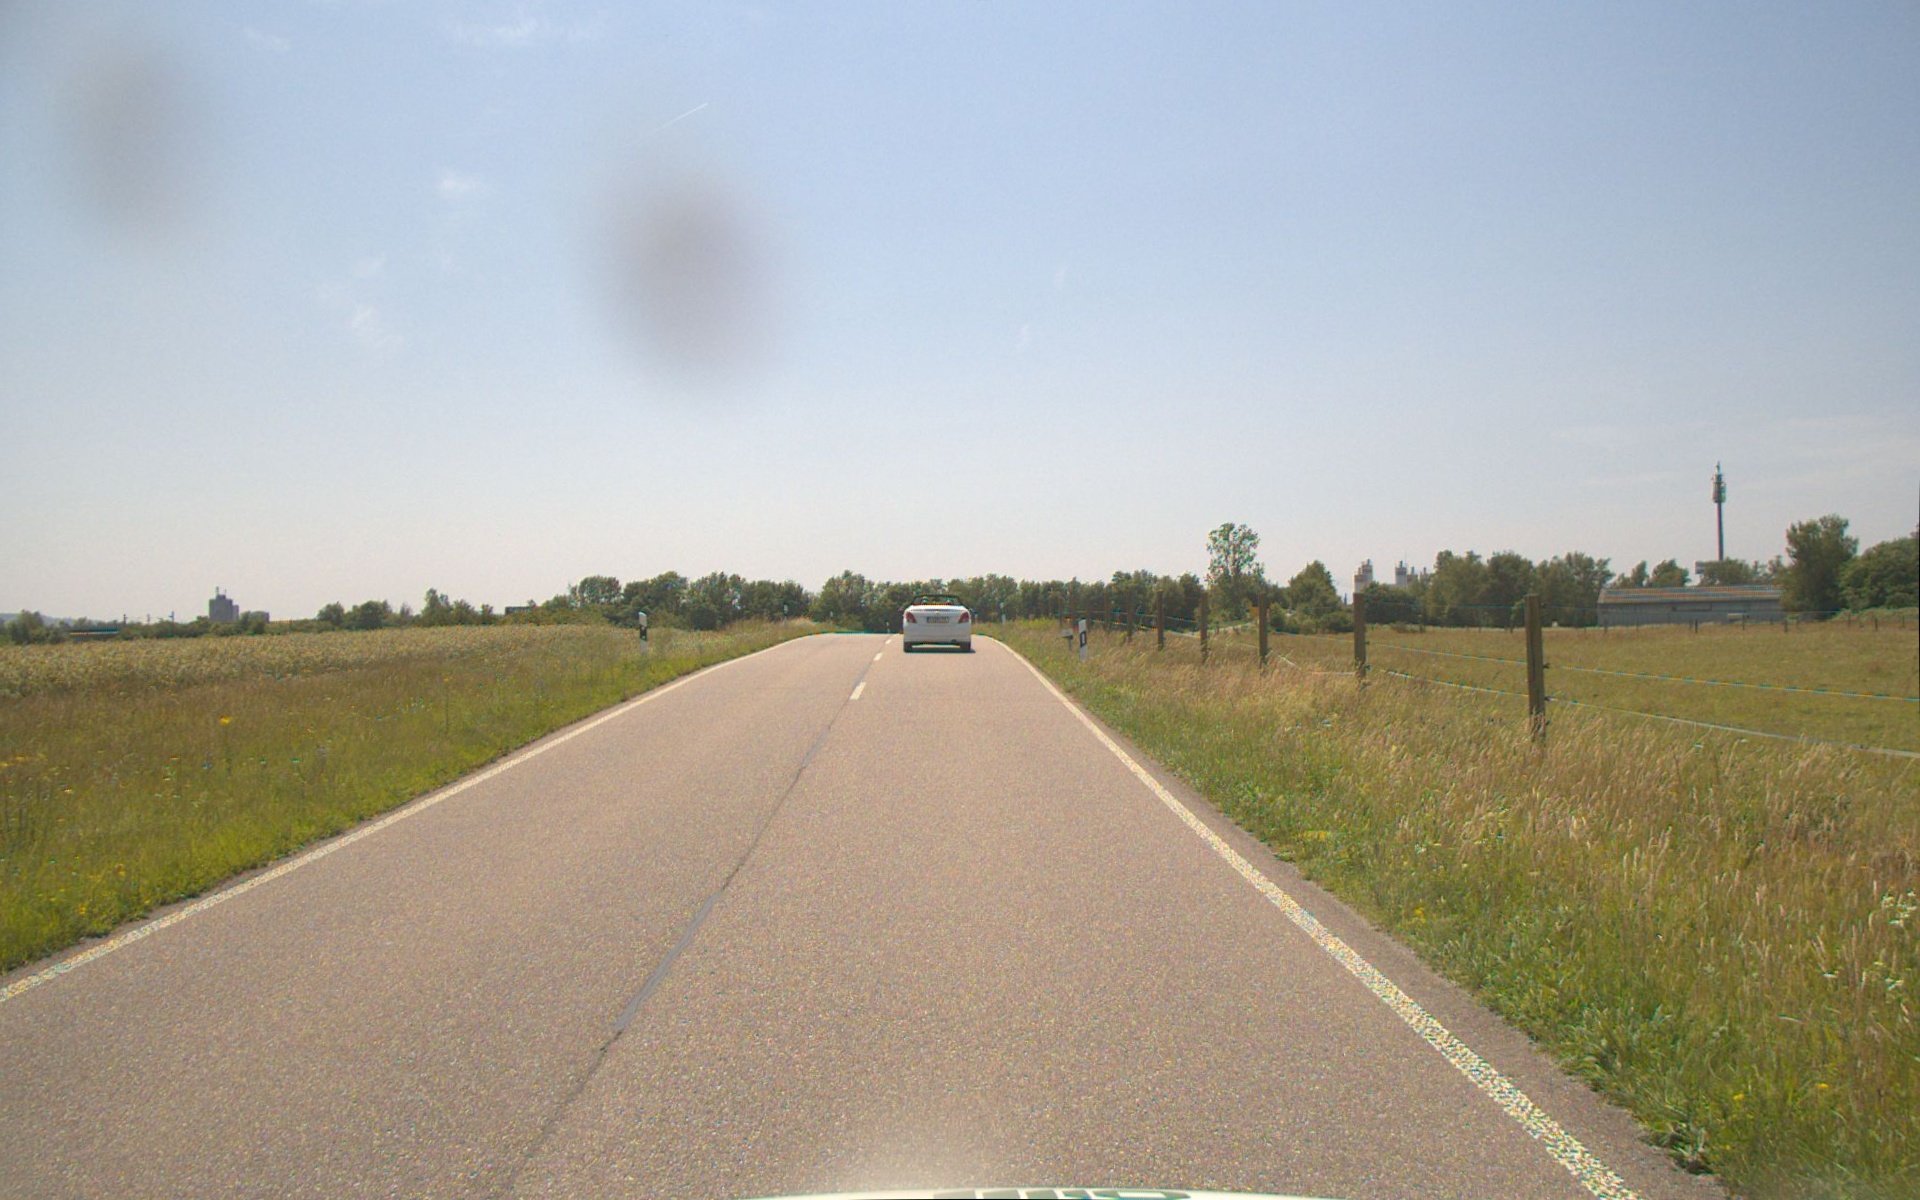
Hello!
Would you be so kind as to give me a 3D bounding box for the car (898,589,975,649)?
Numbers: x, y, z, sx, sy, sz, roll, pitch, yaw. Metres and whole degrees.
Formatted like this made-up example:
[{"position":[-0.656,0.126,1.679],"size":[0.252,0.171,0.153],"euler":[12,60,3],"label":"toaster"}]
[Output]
[{"position":[-0.612,0.442,41.440],"size":[1.813,1.403,3.999],"euler":[0,0,-2],"label":"car"}]
